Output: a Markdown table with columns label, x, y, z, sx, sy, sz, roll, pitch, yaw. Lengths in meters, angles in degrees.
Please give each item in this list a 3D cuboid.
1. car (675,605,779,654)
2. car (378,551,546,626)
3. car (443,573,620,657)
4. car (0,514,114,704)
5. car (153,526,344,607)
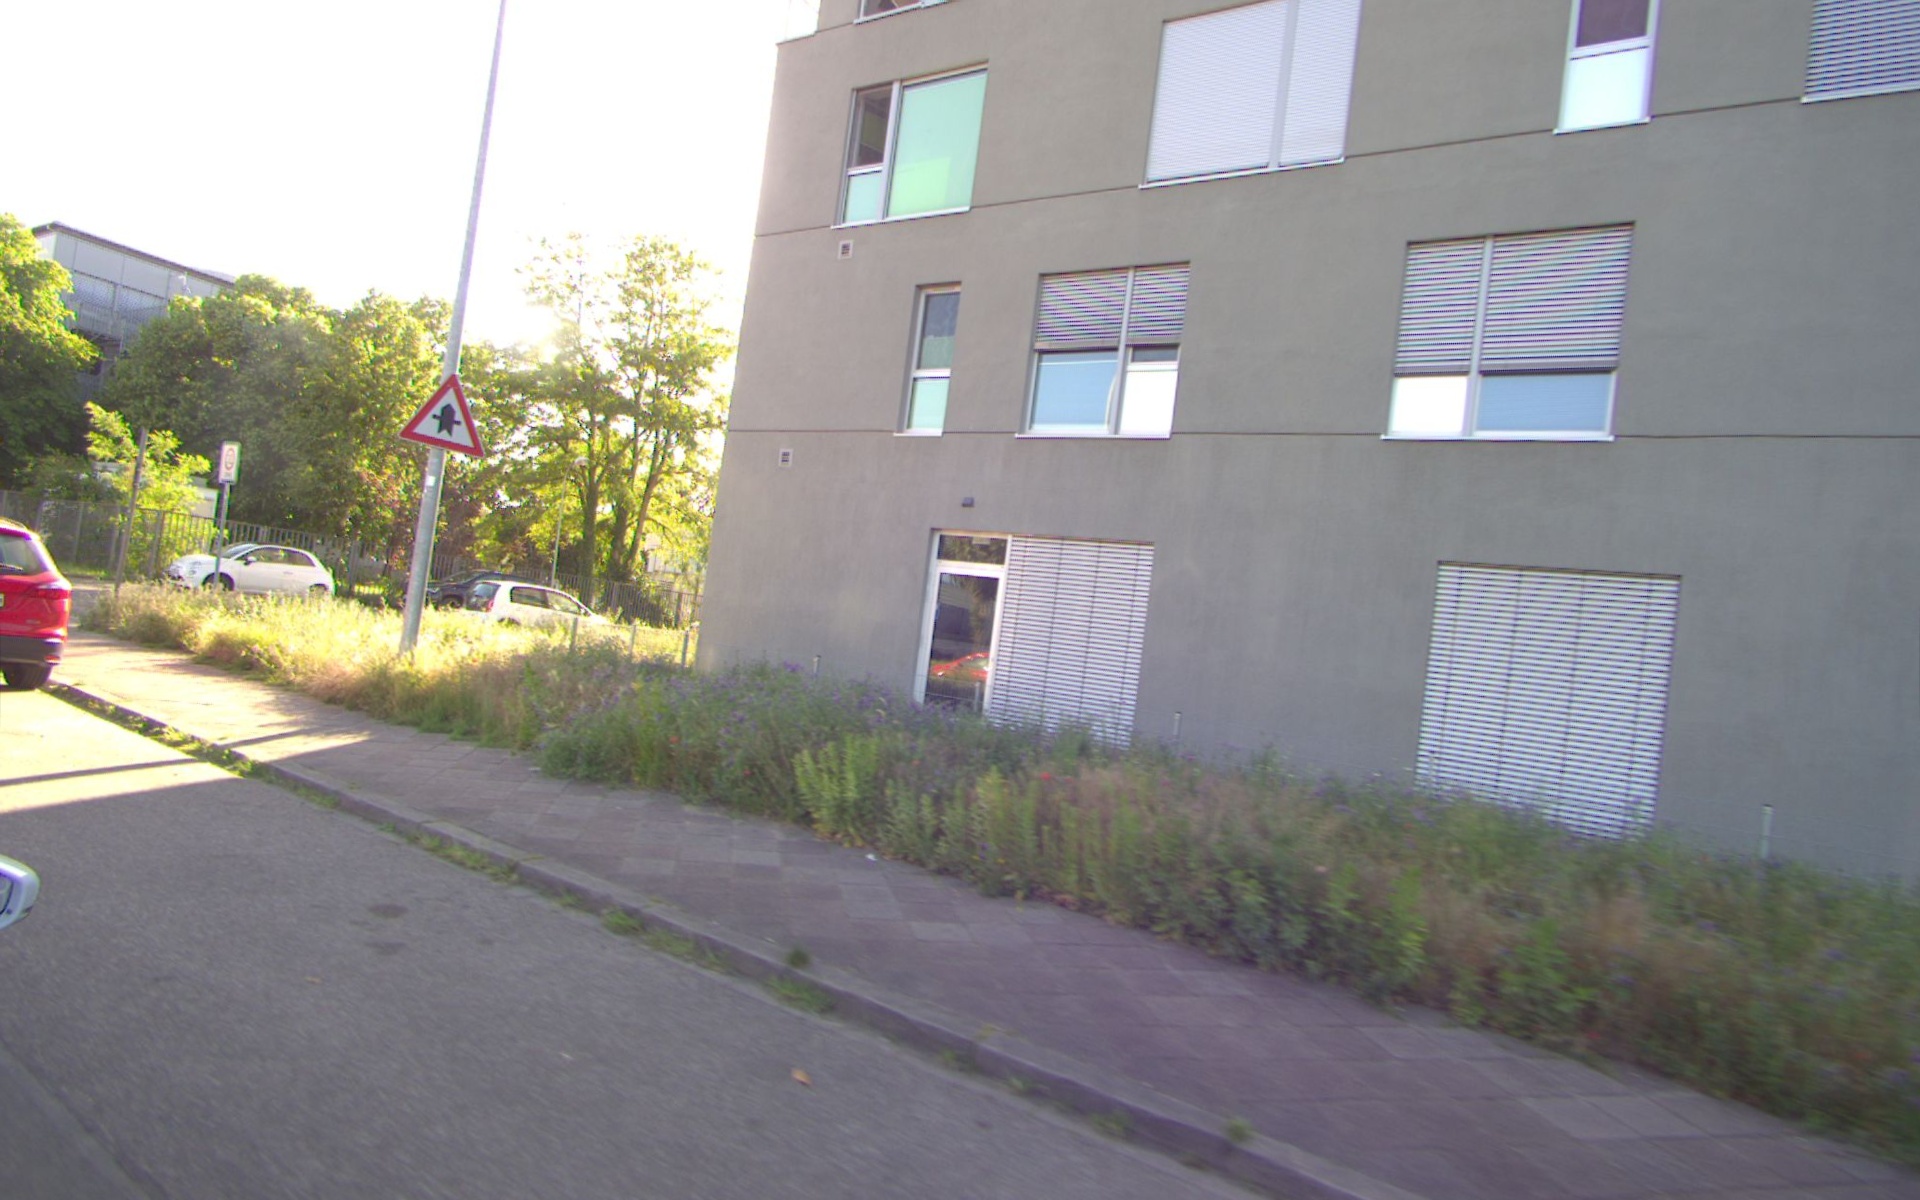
| label | x | y | z | sx | sy | sz | roll | pitch | yaw |
| --- | --- | --- | --- | --- | --- | --- | --- | --- | --- |
| car | -9.275 | 1.214 | 40.303 | 1.683 | 1.453 | 3.997 | 6 | -3 | 30 |
| car | -15.015 | -0.304 | 30.567 | 1.727 | 1.655 | 4.161 | 6 | -3 | 32 |
| car | -10.081 | 0.392 | 23.831 | 1.688 | 1.475 | 3.330 | 7 | -2 | 36 |
| car | -9.825 | -0.176 | 9.113 | 4.377 | 1.515 | 1.825 | 6 | -4 | 31 |
| car | -18.151 | -0.817 | 25.802 | 1.574 | 1.502 | 3.554 | 6 | -3 | 32 |
